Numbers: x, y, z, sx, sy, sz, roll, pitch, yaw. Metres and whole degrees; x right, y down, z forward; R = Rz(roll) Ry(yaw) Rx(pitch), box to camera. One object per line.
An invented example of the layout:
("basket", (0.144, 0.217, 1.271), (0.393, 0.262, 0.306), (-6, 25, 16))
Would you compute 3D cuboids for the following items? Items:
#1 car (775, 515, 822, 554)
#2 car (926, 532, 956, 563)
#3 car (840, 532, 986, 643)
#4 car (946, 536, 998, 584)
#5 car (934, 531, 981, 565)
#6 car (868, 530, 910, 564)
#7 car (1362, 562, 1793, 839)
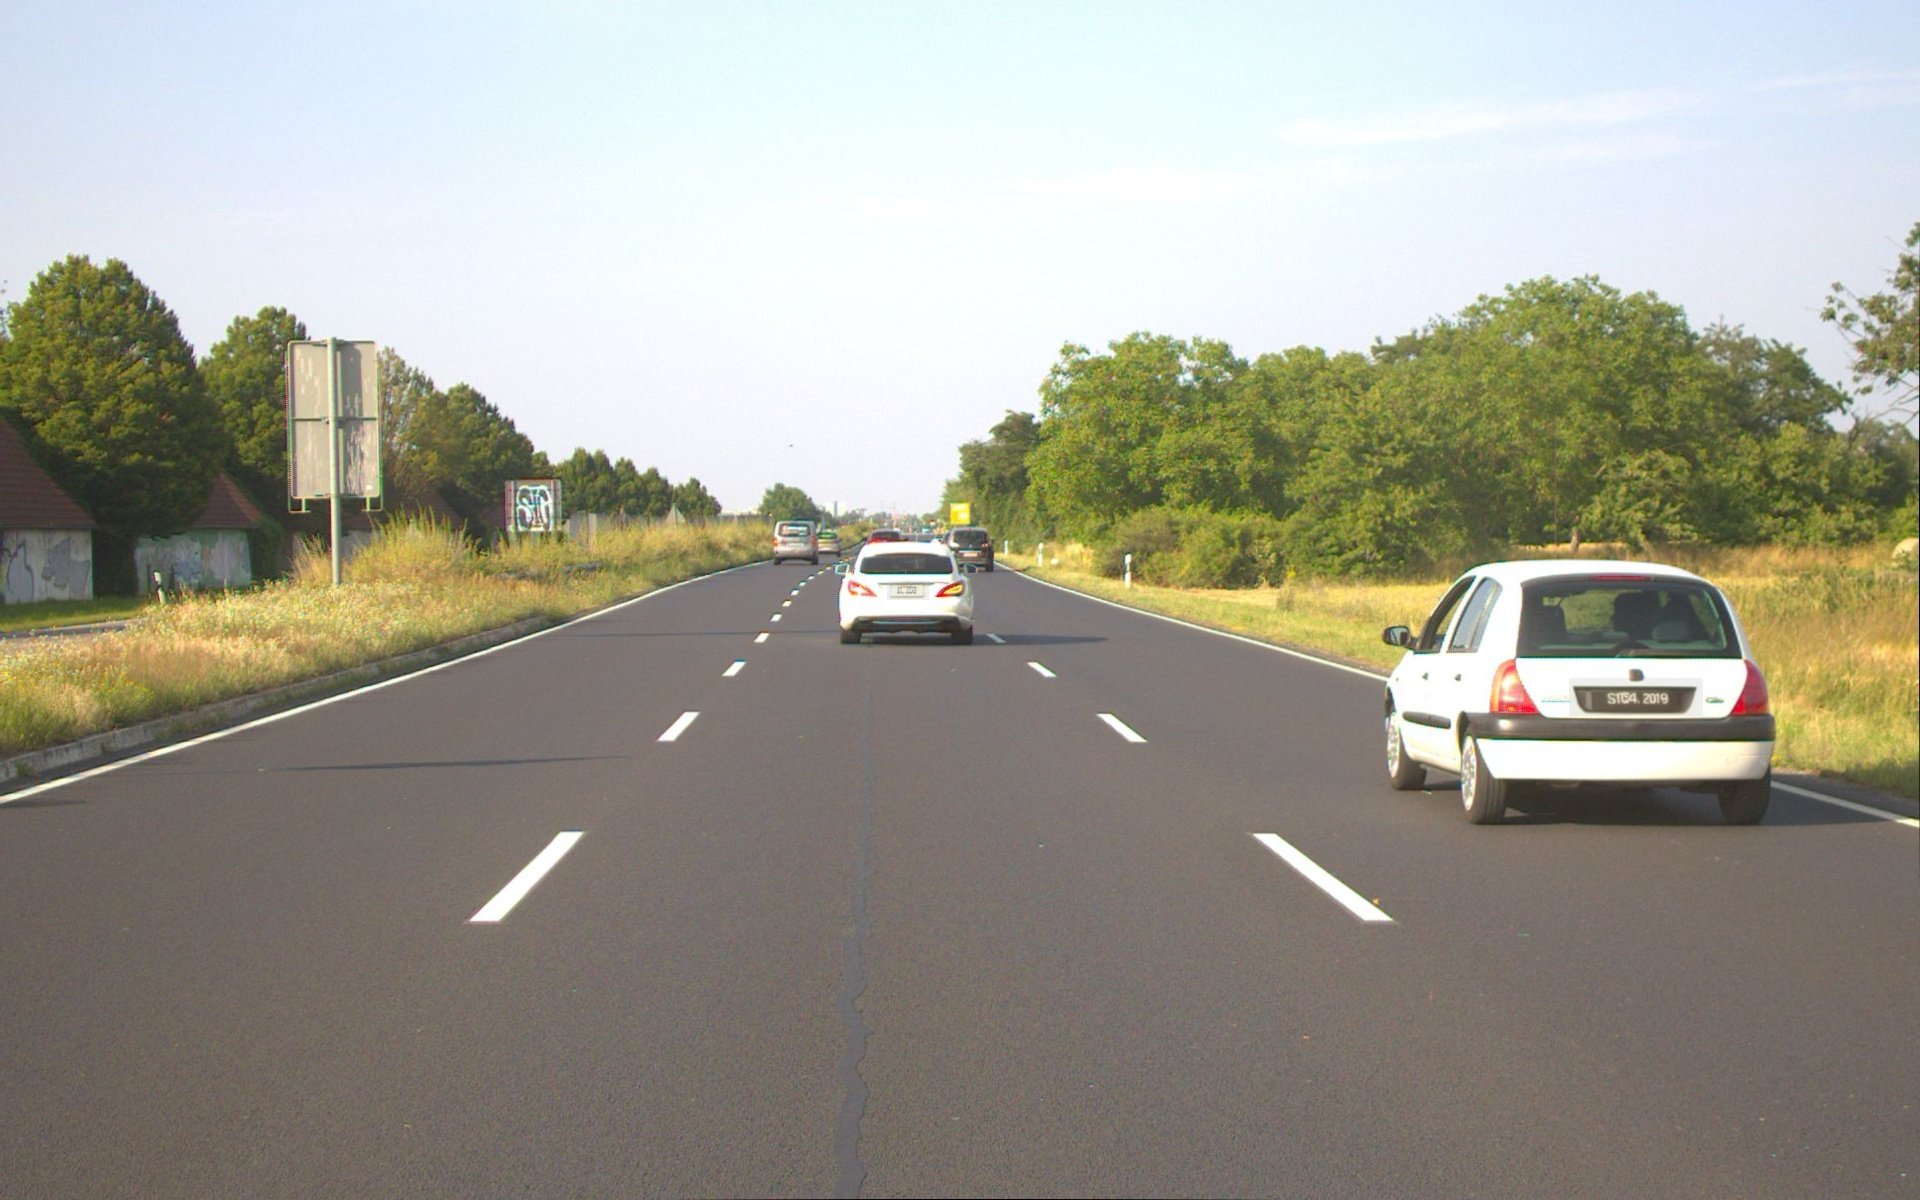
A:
("car", (-6.934, -2.806, 148.094), (1.758, 1.612, 4.000), (1, 0, 1))
("car", (-1.166, -3.231, 211.572), (1.803, 1.897, 3.559), (1, 0, 0))
("car", (-0.673, -0.185, 49.241), (1.993, 1.511, 4.000), (1, 0, -1))
("car", (0.424, -1.486, 128.469), (1.828, 1.722, 4.000), (1, 0, -1))
("car", (-0.121, -2.475, 164.571), (1.993, 1.579, 4.285), (1, 0, -4))
("car", (-3.139, -2.315, 151.503), (1.812, 1.431, 3.859), (1, 0, -2))
("car", (3.355, 0.495, 19.371), (1.617, 1.382, 3.952), (1, 0, -1))
